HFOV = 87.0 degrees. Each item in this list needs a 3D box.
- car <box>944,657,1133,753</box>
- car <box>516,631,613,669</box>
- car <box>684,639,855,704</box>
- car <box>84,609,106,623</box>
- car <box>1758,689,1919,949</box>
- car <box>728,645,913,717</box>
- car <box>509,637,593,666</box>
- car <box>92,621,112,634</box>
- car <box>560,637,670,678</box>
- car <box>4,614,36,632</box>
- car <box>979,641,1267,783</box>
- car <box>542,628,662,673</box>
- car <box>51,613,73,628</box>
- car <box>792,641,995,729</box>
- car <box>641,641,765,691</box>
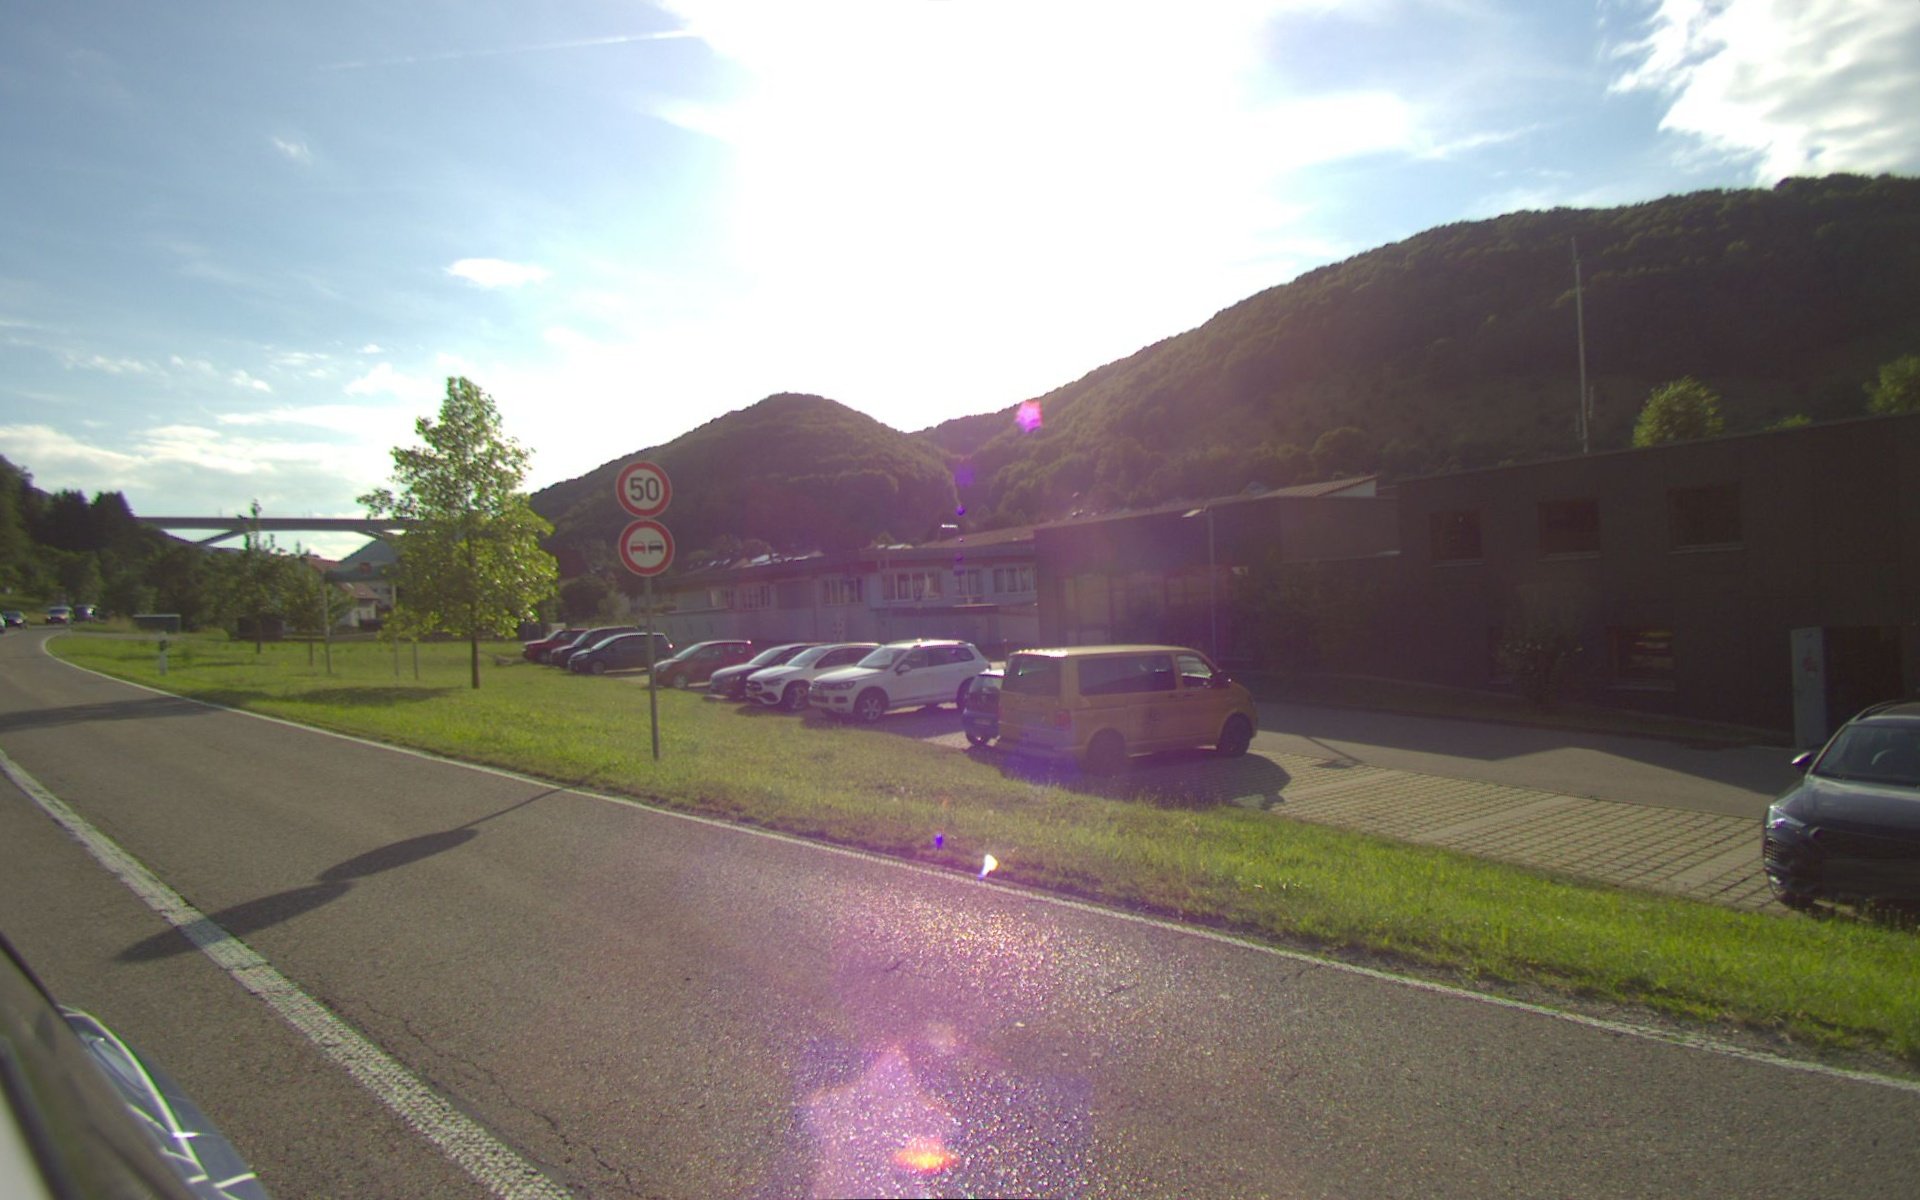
[{"bbox_3d":[1.560,1.956,19.635,3.448,1.483,1.636,-1,0,-38],"label":"car"},{"bbox_3d":[-19.805,2.457,50.660,4.262,1.682,1.853,-1,0,-32],"label":"car"},{"bbox_3d":[-5.501,2.017,29.494,4.478,1.566,2.005,-1,0,-36],"label":"car"},{"bbox_3d":[-99.262,1.822,116.172,1.605,1.490,3.688,-1,0,-37],"label":"car"},{"bbox_3d":[8.814,1.779,8.739,3.971,1.649,2.005,-1,0,-36],"label":"car"},{"bbox_3d":[-3.679,2.092,27.031,4.478,1.566,2.005,-1,0,-36],"label":"car"},{"bbox_3d":[-21.686,2.706,53.735,3.834,1.379,1.857,0,0,-35],"label":"car"},{"bbox_3d":[-103.806,3.334,122.506,1.605,1.490,3.688,-1,0,-37],"label":"car"},{"bbox_3d":[-14.237,2.353,41.884,3.955,1.463,1.688,-1,-2,-38],"label":"car"},{"bbox_3d":[-80.937,1.940,87.136,1.605,1.490,3.688,-1,0,-37],"label":"car"},{"bbox_3d":[2.773,1.719,16.900,4.547,1.882,2.006,-1,0,-32],"label":"car"},{"bbox_3d":[-16.335,2.271,46.346,4.927,1.807,1.688,-1,0,-38],"label":"car"},{"bbox_3d":[-92.572,2.087,104.382,1.606,1.490,3.685,-1,0,-41],"label":"car"},{"bbox_3d":[-1.540,1.934,24.238,4.478,1.716,2.005,-1,0,-36],"label":"car"},{"bbox_3d":[-8.548,2.157,33.737,3.671,1.408,1.619,-1,0,-36],"label":"car"}]
